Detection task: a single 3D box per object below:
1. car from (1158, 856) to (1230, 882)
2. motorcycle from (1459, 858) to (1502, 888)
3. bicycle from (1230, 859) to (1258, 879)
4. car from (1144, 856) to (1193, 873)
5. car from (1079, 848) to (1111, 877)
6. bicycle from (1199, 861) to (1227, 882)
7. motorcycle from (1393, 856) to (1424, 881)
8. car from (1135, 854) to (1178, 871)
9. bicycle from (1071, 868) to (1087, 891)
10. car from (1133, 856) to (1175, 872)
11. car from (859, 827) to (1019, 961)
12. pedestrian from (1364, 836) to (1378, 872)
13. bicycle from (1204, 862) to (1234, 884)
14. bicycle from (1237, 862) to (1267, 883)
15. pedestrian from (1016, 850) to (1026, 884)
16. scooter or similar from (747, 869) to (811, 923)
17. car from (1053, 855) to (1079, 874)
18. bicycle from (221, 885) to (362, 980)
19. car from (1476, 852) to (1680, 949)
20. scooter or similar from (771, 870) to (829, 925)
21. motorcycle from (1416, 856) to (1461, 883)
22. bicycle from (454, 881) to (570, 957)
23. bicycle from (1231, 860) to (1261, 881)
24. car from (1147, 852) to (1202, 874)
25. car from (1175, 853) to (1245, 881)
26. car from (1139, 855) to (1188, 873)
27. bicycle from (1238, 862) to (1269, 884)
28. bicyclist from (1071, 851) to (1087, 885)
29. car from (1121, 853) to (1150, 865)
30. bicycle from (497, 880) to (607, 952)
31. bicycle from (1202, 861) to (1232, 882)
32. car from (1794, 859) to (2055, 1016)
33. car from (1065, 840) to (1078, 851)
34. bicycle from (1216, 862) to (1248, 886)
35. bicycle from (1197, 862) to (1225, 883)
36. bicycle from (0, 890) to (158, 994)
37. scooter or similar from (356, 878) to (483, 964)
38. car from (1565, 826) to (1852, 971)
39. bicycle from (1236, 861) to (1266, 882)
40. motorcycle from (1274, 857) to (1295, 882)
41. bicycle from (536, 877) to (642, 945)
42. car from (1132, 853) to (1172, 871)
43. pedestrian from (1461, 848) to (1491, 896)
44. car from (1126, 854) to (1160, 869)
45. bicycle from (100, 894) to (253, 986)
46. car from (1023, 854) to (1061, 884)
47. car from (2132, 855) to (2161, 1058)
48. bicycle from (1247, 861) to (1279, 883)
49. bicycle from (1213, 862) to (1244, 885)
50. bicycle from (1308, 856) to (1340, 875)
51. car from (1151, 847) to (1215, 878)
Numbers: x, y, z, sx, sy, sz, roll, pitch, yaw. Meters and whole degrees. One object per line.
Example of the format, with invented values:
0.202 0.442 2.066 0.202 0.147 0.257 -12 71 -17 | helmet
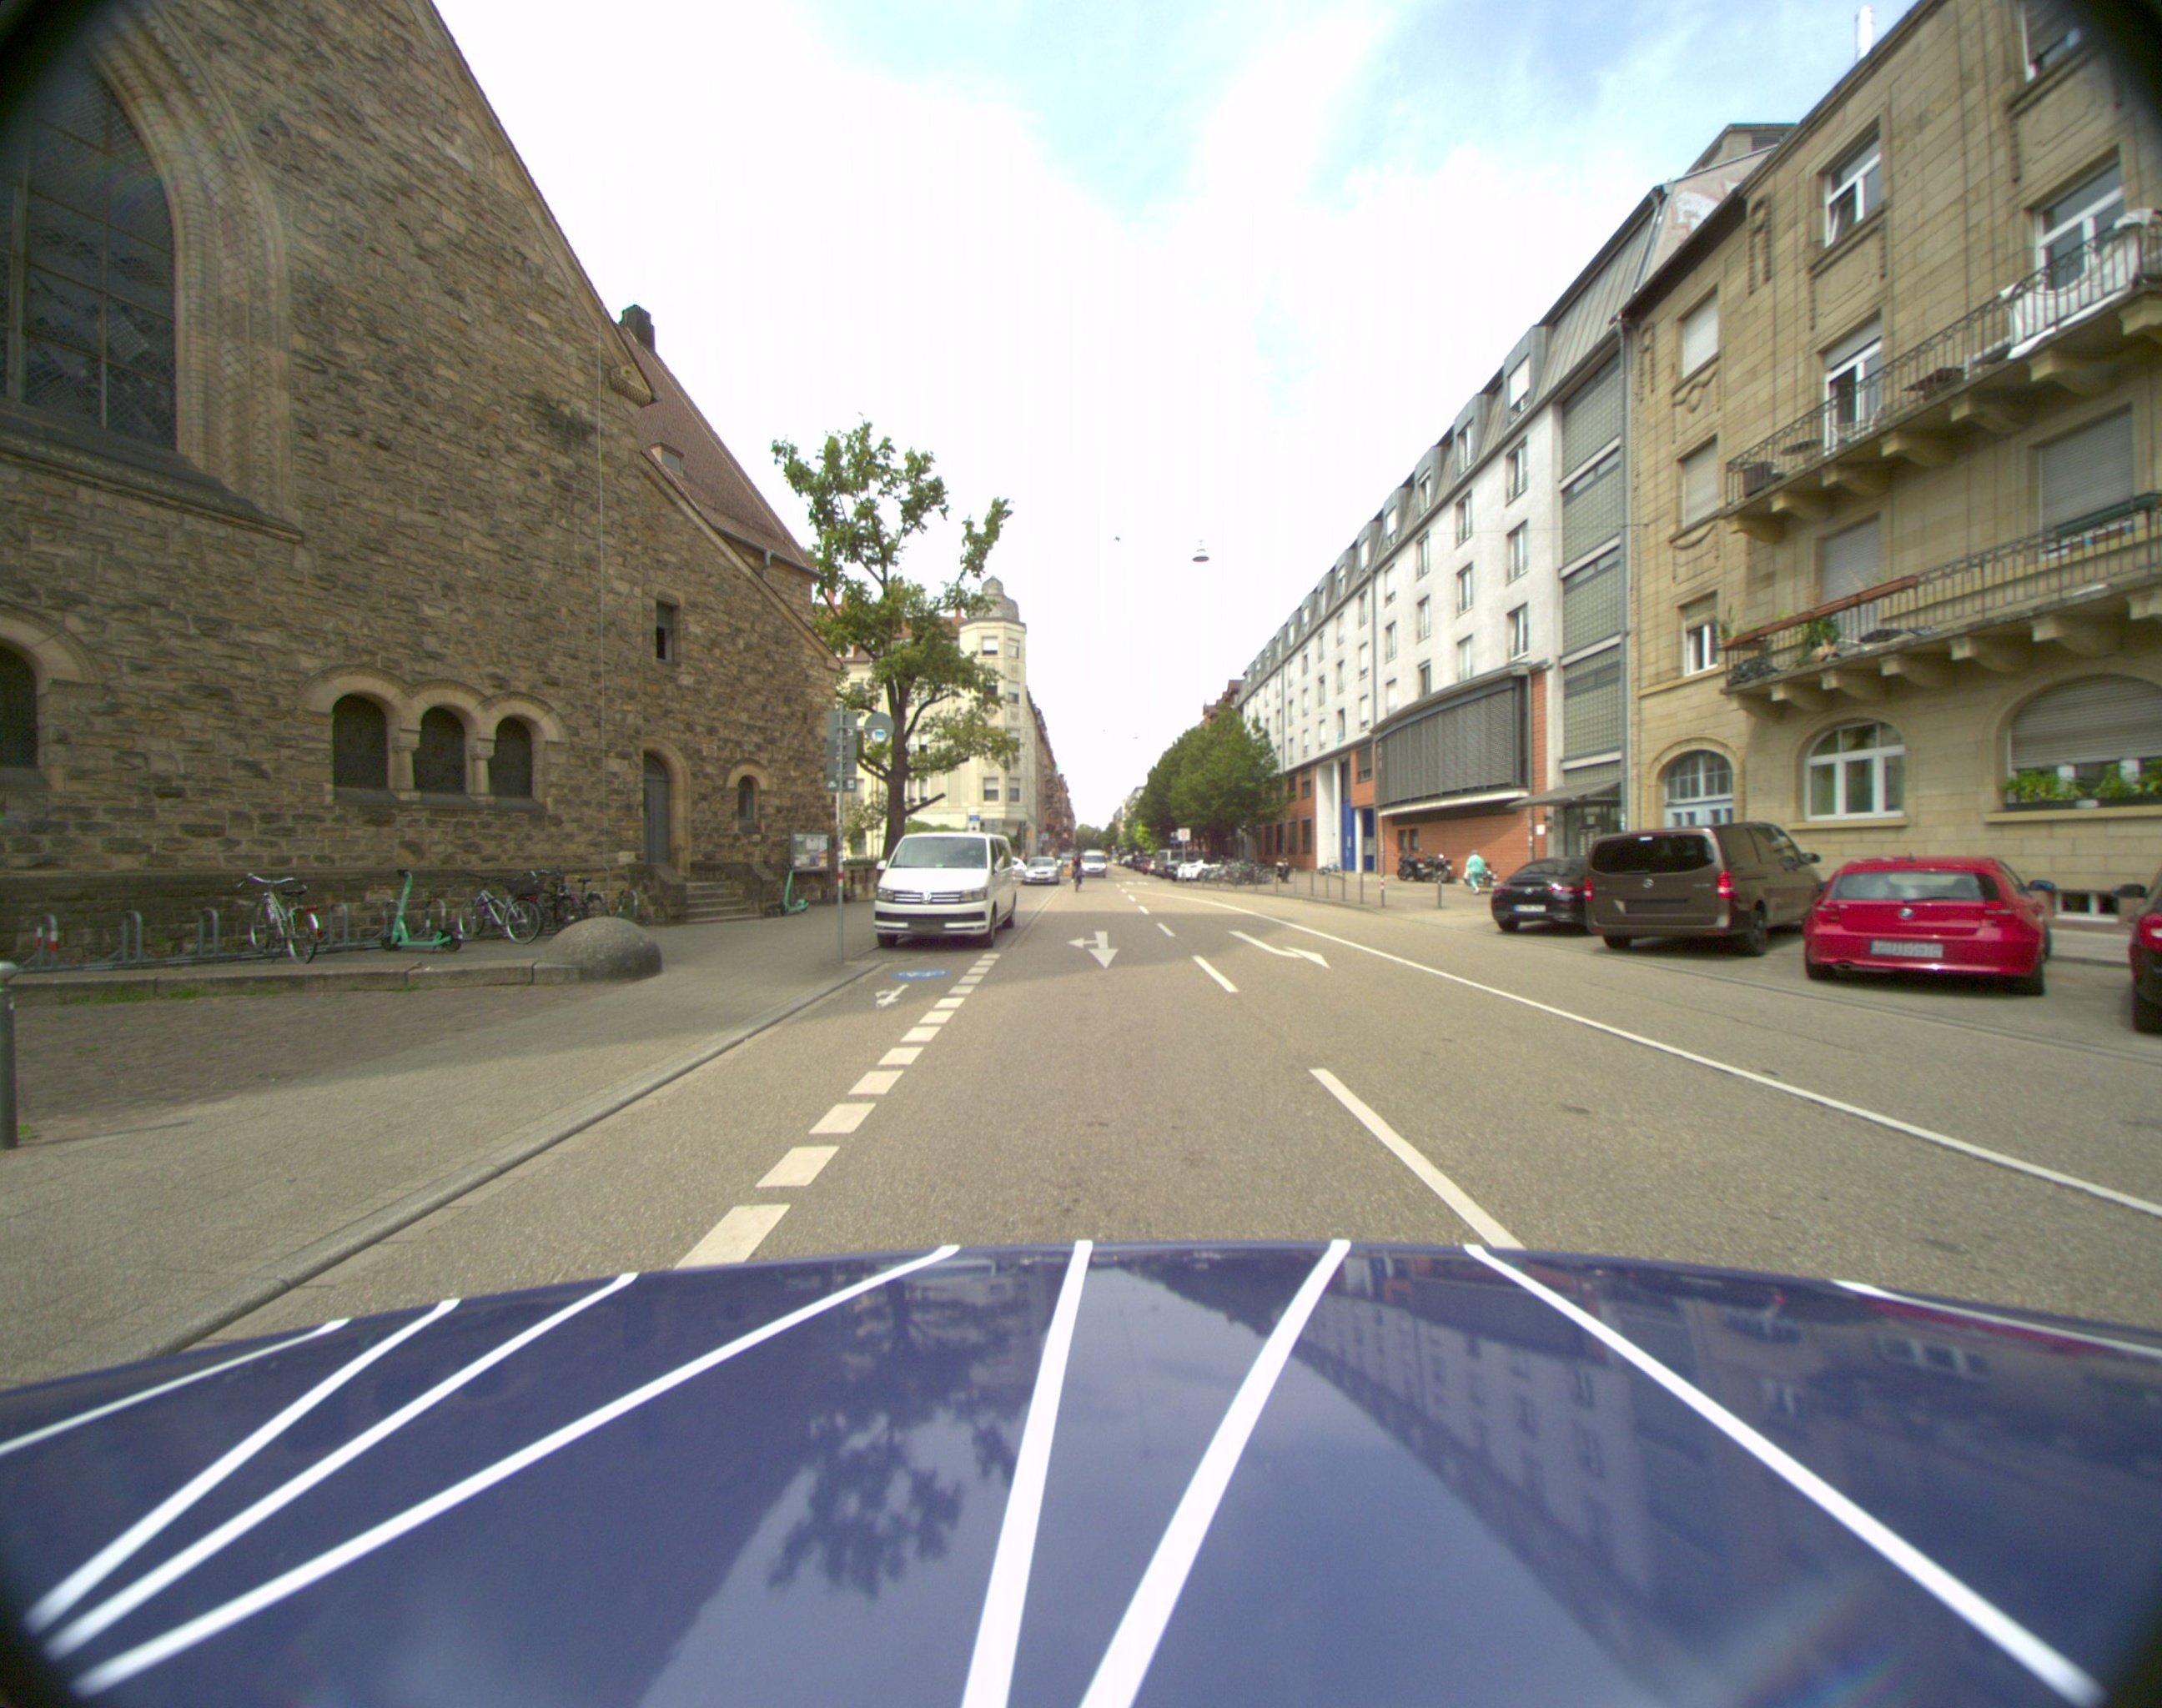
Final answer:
6.985 0.883 46.864 4.324 1.460 1.713 -1 0 -33 | car
14.219 0.659 27.079 0.585 1.042 1.794 -2 0 2 | motorcycle
8.508 0.794 39.684 1.409 1.020 0.402 -1 0 3 | bicycle
7.362 0.861 63.879 4.012 1.381 1.592 -1 -1 -32 | car
1.036 0.615 54.103 1.942 1.913 4.008 -1 -1 5 | car
7.075 0.945 40.672 1.409 1.020 0.402 -3 0 3 | bicycle
14.306 0.629 33.200 0.585 1.042 1.657 -2 0 0 | motorcycle
7.367 0.796 74.148 4.012 1.558 1.687 -1 -1 -32 | car
-0.075 1.083 32.334 0.586 0.927 1.783 -1 -1 2 | bicycle
7.445 1.019 76.884 4.012 1.558 1.687 -1 -1 -32 | car
-2.370 0.600 14.079 2.019 2.017 5.122 1 0 0 | car
16.317 0.023 42.767 0.729 2.002 0.783 0 0 20 | pedestrian
7.041 0.949 38.757 1.409 1.032 0.402 -3 0 3 | bicycle
8.510 0.921 37.896 1.409 1.020 0.402 -1 0 3 | bicycle
-3.124 0.682 39.649 0.468 1.725 0.410 0 0 0 | pedestrian
-7.157 0.972 18.087 0.545 1.200 1.483 0 0 21 | scooter or similar
-1.306 0.942 68.042 1.853 1.661 4.008 -1 -1 5 | car
-10.048 0.967 9.664 1.778 1.105 0.547 0 0 20 | bicycle
9.933 0.818 15.032 4.679 1.401 1.895 -4 0 -38 | car
-6.547 0.987 17.782 0.545 1.200 1.444 0 0 14 | scooter or similar
14.459 0.629 30.779 0.585 1.042 1.965 -2 0 -10 | motorcycle
-8.906 0.989 11.885 1.778 1.105 0.547 0 0 20 | bicycle
8.504 0.857 39.199 1.409 1.020 0.402 -1 0 3 | bicycle
7.198 0.696 58.248 4.012 1.605 1.708 -1 -1 -32 | car
7.607 0.747 44.555 4.013 1.536 1.598 -1 0 -33 | car
7.175 0.850 66.027 4.012 1.445 1.687 -1 -1 -32 | car
8.481 0.945 37.360 1.409 1.020 0.402 -1 0 3 | bicycle
-0.074 0.600 32.388 0.649 1.408 1.094 -1 0 2 | bicyclist
8.226 0.716 114.441 4.012 1.746 1.687 -1 -1 -32 | car
-8.674 0.989 12.458 1.771 1.105 0.547 0 0 20 | bicycle
7.043 0.899 39.399 1.409 1.020 0.402 -3 0 3 | bicycle
10.099 0.795 9.014 4.020 1.401 1.792 -1 0 -38 | car
-1.407 -1.218 112.699 1.854 1.505 4.006 -1 -1 0 | car
7.123 0.940 35.863 1.409 1.032 0.402 -3 0 3 | bicycle
7.094 1.013 41.480 1.409 1.020 0.402 -3 0 3 | bicycle
-10.794 0.908 8.160 1.778 0.952 0.547 2 1 20 | bicycle
-9.396 0.923 10.786 1.778 1.133 0.547 0 0 20 | scooter or similar
10.235 0.565 12.262 5.280 1.899 2.116 -1 0 -33 | car
8.582 0.896 38.381 1.409 1.020 0.402 -1 0 3 | bicycle
9.800 0.745 36.674 0.585 1.166 1.780 -2 0 3 | motorcycle
-8.465 0.960 13.075 1.778 1.105 0.547 0 0 20 | bicycle
7.787 0.897 83.208 4.052 1.846 1.687 -1 -1 -32 | car
12.333 0.553 23.733 0.661 1.477 0.509 -1 0 2 | pedestrian
7.875 0.920 96.260 4.012 1.846 1.687 -1 -1 -32 | car
-10.498 0.970 8.817 1.778 0.951 0.547 0 0 20 | bicycle
-1.966 0.763 39.491 1.759 1.460 4.418 0 0 0 | car
10.226 0.770 6.308 4.004 1.494 1.627 -1 0 -34 | car
8.669 0.852 36.114 1.409 1.020 0.402 -1 0 3 | bicycle
7.132 0.937 36.754 1.409 1.032 0.402 -3 0 3 | bicycle
14.162 0.688 44.293 1.613 0.920 0.932 -6 -1 13 | bicycle
7.082 0.555 52.683 4.011 1.986 1.857 -3 1 -30 | car
